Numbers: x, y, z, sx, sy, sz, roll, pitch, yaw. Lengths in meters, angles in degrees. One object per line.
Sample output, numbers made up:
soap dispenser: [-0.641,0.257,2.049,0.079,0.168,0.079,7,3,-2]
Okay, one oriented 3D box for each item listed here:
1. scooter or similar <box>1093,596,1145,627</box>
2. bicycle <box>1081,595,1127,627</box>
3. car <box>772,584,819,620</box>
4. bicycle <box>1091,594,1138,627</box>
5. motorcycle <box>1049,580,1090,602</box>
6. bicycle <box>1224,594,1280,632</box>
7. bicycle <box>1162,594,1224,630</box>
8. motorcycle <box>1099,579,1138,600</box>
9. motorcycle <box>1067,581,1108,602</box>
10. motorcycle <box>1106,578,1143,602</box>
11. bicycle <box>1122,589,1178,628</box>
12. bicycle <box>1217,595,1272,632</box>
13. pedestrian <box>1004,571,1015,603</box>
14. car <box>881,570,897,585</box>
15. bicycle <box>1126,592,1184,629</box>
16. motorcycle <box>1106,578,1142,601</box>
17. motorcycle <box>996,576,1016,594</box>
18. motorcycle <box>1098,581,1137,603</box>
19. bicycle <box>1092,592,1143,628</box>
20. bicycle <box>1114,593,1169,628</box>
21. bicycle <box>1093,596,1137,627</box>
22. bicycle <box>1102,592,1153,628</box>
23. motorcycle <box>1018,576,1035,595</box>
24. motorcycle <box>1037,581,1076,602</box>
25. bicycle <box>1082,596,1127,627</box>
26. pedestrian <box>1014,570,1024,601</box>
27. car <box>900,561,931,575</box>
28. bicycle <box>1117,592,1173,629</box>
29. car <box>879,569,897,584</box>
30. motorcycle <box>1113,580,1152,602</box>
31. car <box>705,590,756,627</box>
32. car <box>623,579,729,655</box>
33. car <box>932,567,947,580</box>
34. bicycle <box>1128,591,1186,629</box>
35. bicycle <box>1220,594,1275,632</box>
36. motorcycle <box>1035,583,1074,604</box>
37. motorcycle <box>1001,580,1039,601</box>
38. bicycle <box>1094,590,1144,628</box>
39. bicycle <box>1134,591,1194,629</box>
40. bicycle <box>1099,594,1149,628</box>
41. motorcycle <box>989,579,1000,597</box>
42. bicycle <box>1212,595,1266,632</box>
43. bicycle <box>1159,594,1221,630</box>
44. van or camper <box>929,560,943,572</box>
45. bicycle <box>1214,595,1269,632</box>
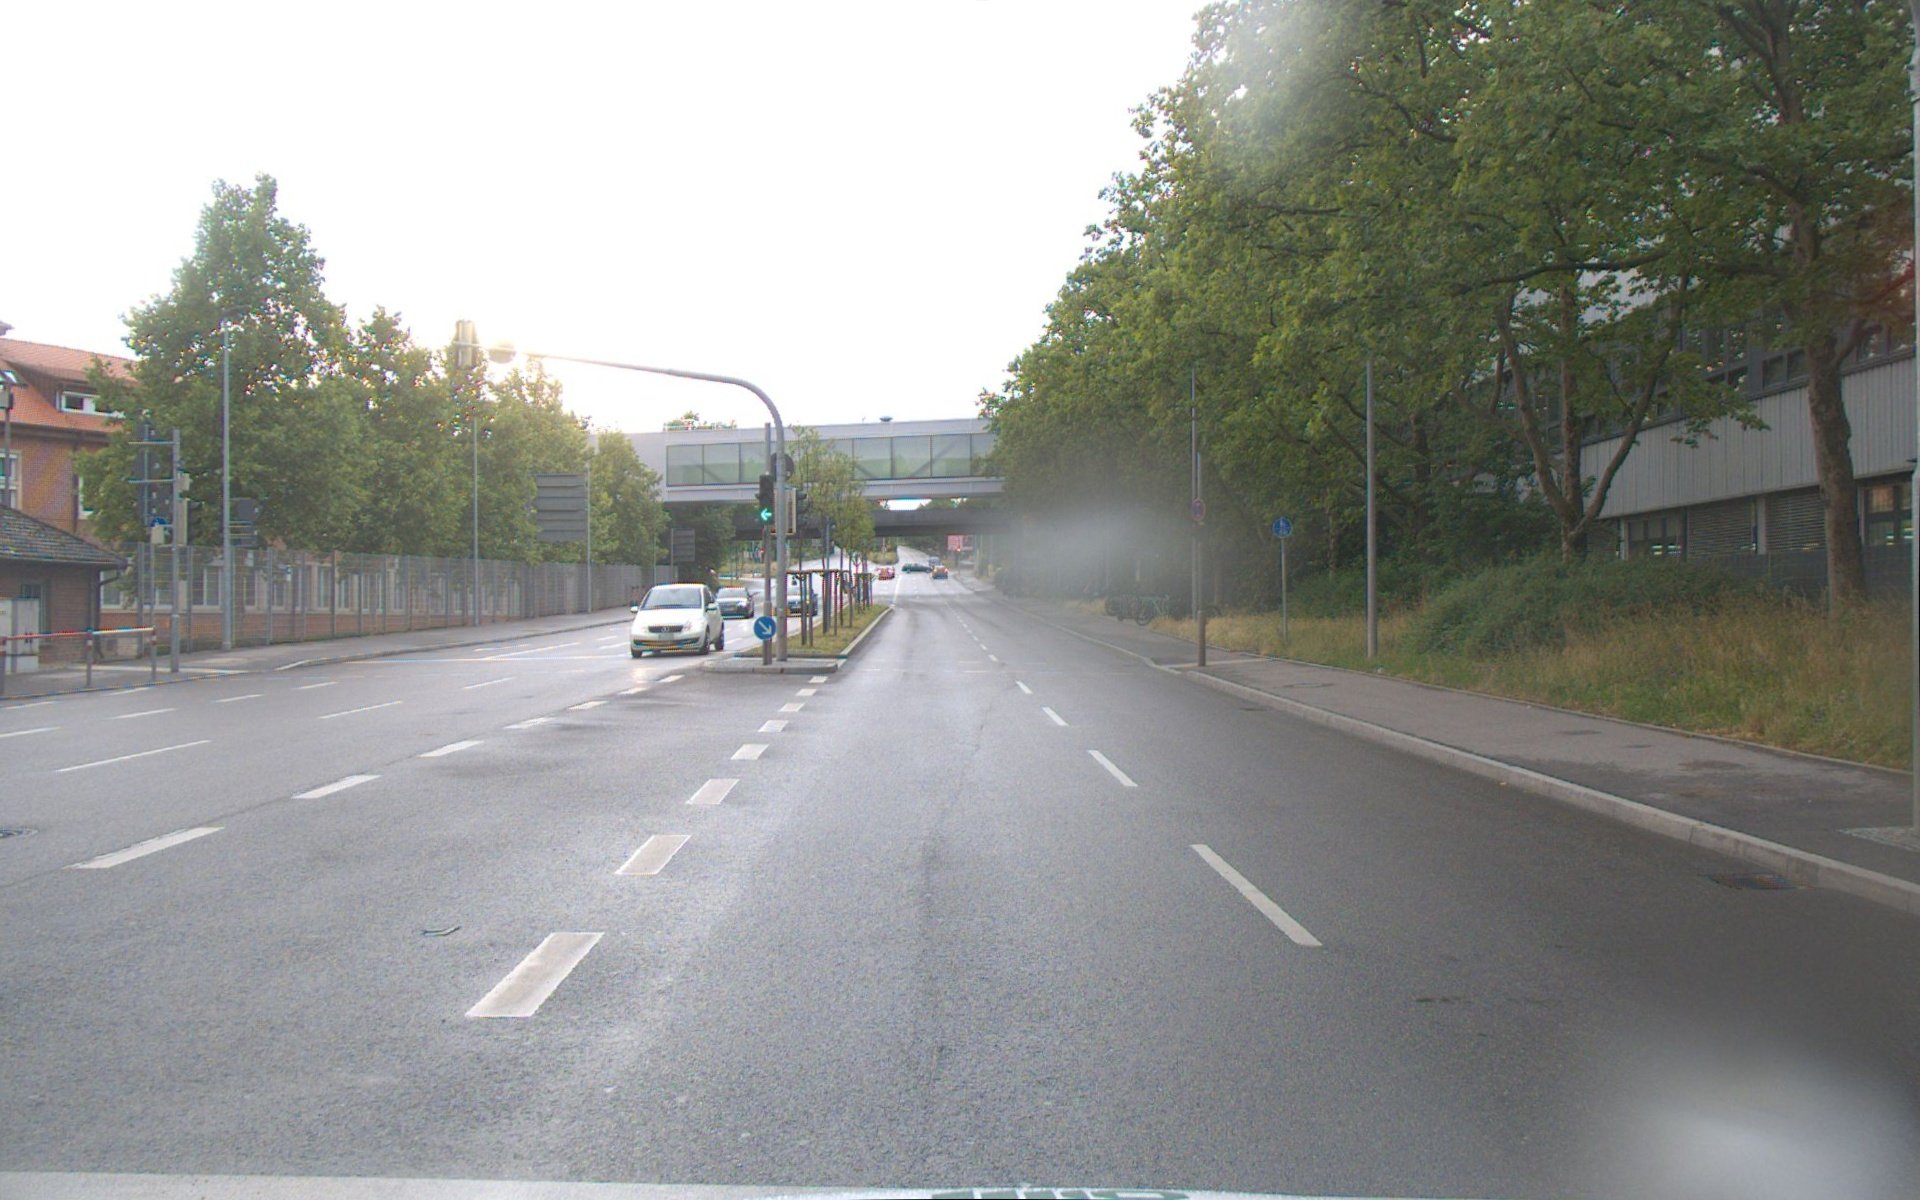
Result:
scooter or similar: [6.151,0.446,64.030,1.949,1.157,0.541,2,-1,0]
bicycle: [6.339,0.483,72.741,1.923,1.352,0.654,2,-1,0]
car: [-7.732,0.088,78.105,1.839,1.653,3.778,-1,0,-1]
bicycle: [6.575,0.461,70.453,1.920,1.352,0.576,2,-1,0]
motorcycle: [6.292,-0.513,95.203,2.318,1.223,0.723,-1,0,7]
bicycle: [10.830,0.493,61.335,1.949,1.352,0.576,2,-1,0]
bicycle: [7.599,0.400,53.966,1.949,1.114,0.541,2,-1,0]
motorcycle: [9.706,-0.617,101.252,2.318,1.223,0.723,-1,0,7]
motorcycle: [7.482,-0.496,96.915,2.318,1.223,0.723,-1,0,7]
motorcycle: [10.685,-0.666,107.205,2.318,1.502,0.723,-1,0,7]
bicycle: [6.919,0.317,60.251,1.949,1.364,0.541,2,-1,0]
bicycle: [10.791,0.510,62.763,1.949,1.352,0.576,2,-1,0]
pedestrian: [3.233,-0.864,108.207,0.609,2.049,0.605,-1,0,-1]
car: [-9.033,-2.828,211.888,1.846,1.792,3.968,2,-1,-1]
bicycle: [6.939,0.367,58.845,1.949,1.263,0.541,2,-1,0]
motorcycle: [10.771,-0.692,108.441,2.318,1.502,0.723,-1,0,7]
motorcycle: [3.485,-1.129,125.421,0.778,1.334,2.364,-1,0,-19]
motorcycle: [9.578,-0.489,100.370,2.318,1.223,0.723,-1,0,7]
bicycle: [6.264,0.405,65.969,1.949,1.352,0.576,2,-1,0]
bicycle: [6.795,0.402,61.889,1.949,1.263,0.541,2,-1,0]
bicycle: [7.097,0.549,75.973,1.923,1.352,0.654,2,-1,0]
bicycle: [6.592,0.406,65.165,1.949,1.352,0.576,2,-1,0]
motorcycle: [4.922,-1.074,121.760,0.775,1.334,2.371,-1,0,-9]
motorcycle: [5.908,-0.531,101.629,2.318,1.223,0.723,-1,0,7]
bicycle: [6.501,0.511,74.461,1.923,1.352,0.654,2,-1,0]
pedestrian: [3.865,-0.944,108.243,0.609,2.049,0.605,-1,0,-1]
car: [-6.339,-4.502,236.207,4.419,1.792,1.904,2,-1,-2]
bicycle: [6.813,0.390,60.940,1.949,1.263,0.541,2,-1,0]
car: [-8.987,-2.925,206.646,1.953,1.792,3.999,2,-1,-1]
motorcycle: [10.331,-0.543,99.058,2.318,1.223,0.723,-1,0,7]
car: [-10.707,0.391,77.331,1.839,1.653,3.778,-1,0,-1]
car: [-6.521,0.362,38.333,1.839,1.653,3.778,-1,0,-1]
car: [-2.517,-3.235,202.999,1.837,1.523,4.067,2,-1,-1]
bicycle: [6.934,0.363,58.173,1.949,1.255,0.541,2,-1,0]
bicycle: [10.800,0.502,62.098,1.949,1.352,0.576,2,-1,0]
motorcycle: [5.705,-0.403,99.854,2.318,1.223,0.723,-1,0,7]
motorcycle: [3.800,-0.609,104.136,2.318,1.223,0.723,-1,0,7]
bicycle: [6.505,0.371,67.650,1.949,1.455,0.723,2,-1,0]
bicycle: [6.902,0.342,55.983,1.949,1.237,0.541,2,-1,0]
bicycle: [6.787,0.443,68.508,1.949,1.352,0.576,2,-1,0]
motorcycle: [3.009,-1.016,144.694,0.774,1.560,2.375,-1,0,-2]
bicycle: [10.796,0.527,64.080,1.949,1.352,0.576,2,-1,0]
bicycle: [7.591,0.407,54.534,1.949,1.114,0.541,2,-1,0]
van or camper: [-3.744,-5.266,258.488,1.759,1.845,3.769,1,1,5]
bicycle: [10.795,0.519,63.441,1.949,1.352,0.576,2,-1,0]
